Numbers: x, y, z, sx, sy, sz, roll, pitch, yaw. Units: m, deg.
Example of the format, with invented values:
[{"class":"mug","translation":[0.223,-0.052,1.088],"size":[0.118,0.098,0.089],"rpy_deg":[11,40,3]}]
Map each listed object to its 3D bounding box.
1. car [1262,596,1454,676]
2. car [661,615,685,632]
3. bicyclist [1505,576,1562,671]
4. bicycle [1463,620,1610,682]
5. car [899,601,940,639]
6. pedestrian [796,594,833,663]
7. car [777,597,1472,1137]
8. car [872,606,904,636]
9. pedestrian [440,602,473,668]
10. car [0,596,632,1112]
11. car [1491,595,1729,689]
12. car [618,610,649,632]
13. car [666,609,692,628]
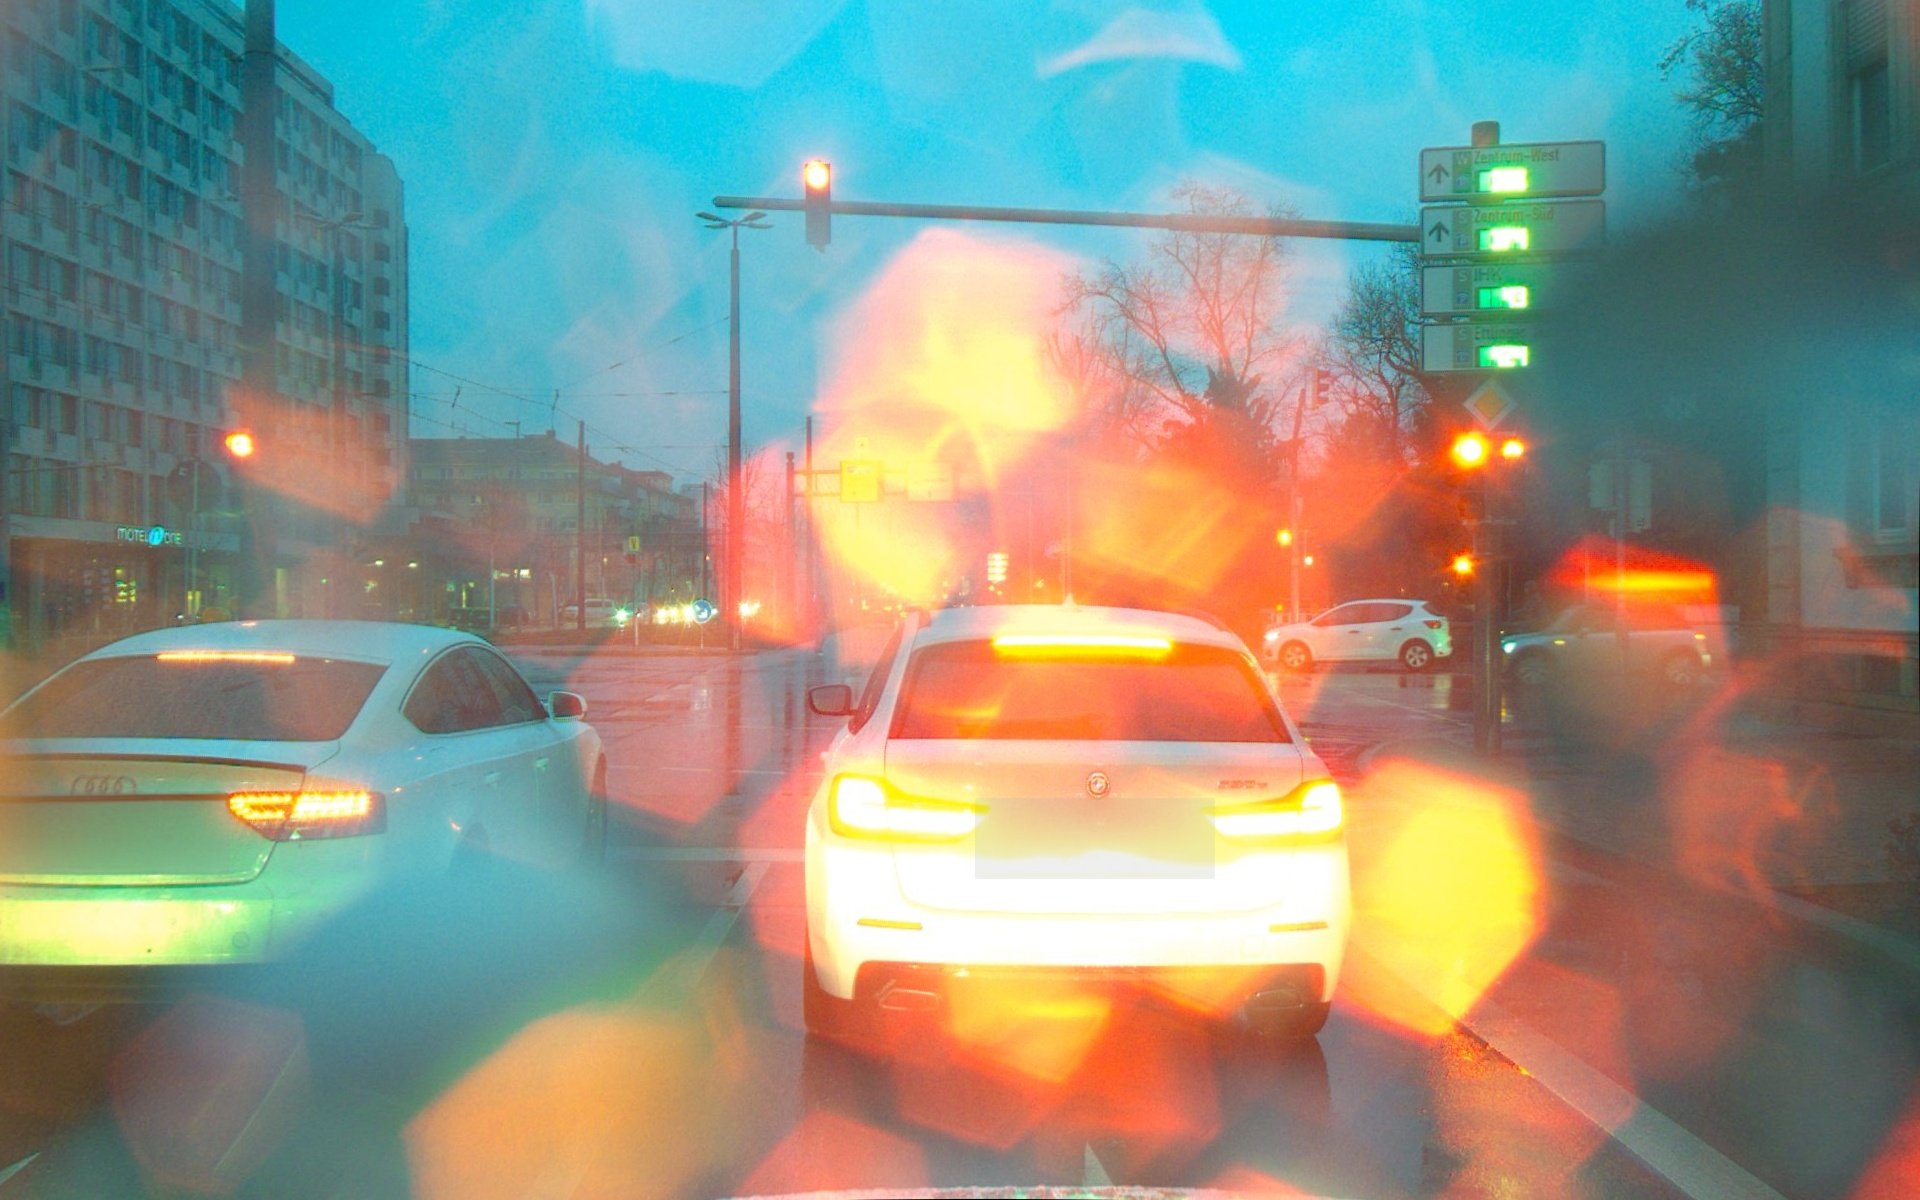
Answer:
[{"class":"car","translation":[8.655,0.768,35.941],"size":[3.873,1.581,1.749],"rpy_deg":[1,-1,20]},{"class":"car","translation":[-27.150,2.239,156.576],"size":[1.641,1.534,3.695],"rpy_deg":[1,-1,-1]},{"class":"bicyclist","translation":[11.103,0.451,32.066],"size":[0.951,1.789,0.814],"rpy_deg":[1,-1,15]},{"class":"bicycle","translation":[11.129,0.977,32.033],"size":[2.610,1.108,0.815],"rpy_deg":[1,-1,15]},{"class":"car","translation":[-1.859,0.896,75.414],"size":[1.806,1.637,3.943],"rpy_deg":[1,-1,-2]},{"class":"pedestrian","translation":[-4.081,0.804,46.471],"size":[0.887,1.888,0.809],"rpy_deg":[2,-1,-14]},{"class":"car","translation":[0.372,0.743,6.817],"size":[1.954,1.481,4.366],"rpy_deg":[0,0,-3]},{"class":"car","translation":[-4.101,1.205,94.643],"size":[1.806,1.637,3.943],"rpy_deg":[1,-1,-2]},{"class":"pedestrian","translation":[-13.424,0.929,44.133],"size":[0.777,1.741,0.809],"rpy_deg":[2,-1,-16]},{"class":"car","translation":[-2.709,0.736,6.988],"size":[1.954,1.481,4.366],"rpy_deg":[0,0,-3]},{"class":"car","translation":[11.220,0.717,28.762],"size":[3.609,1.504,1.630],"rpy_deg":[1,-1,12]},{"class":"car","translation":[-24.523,1.575,124.203],"size":[1.641,1.534,3.695],"rpy_deg":[1,-1,-1]},{"class":"car","translation":[-24.527,1.629,144.377],"size":[1.641,1.534,3.695],"rpy_deg":[1,-1,-1]}]
